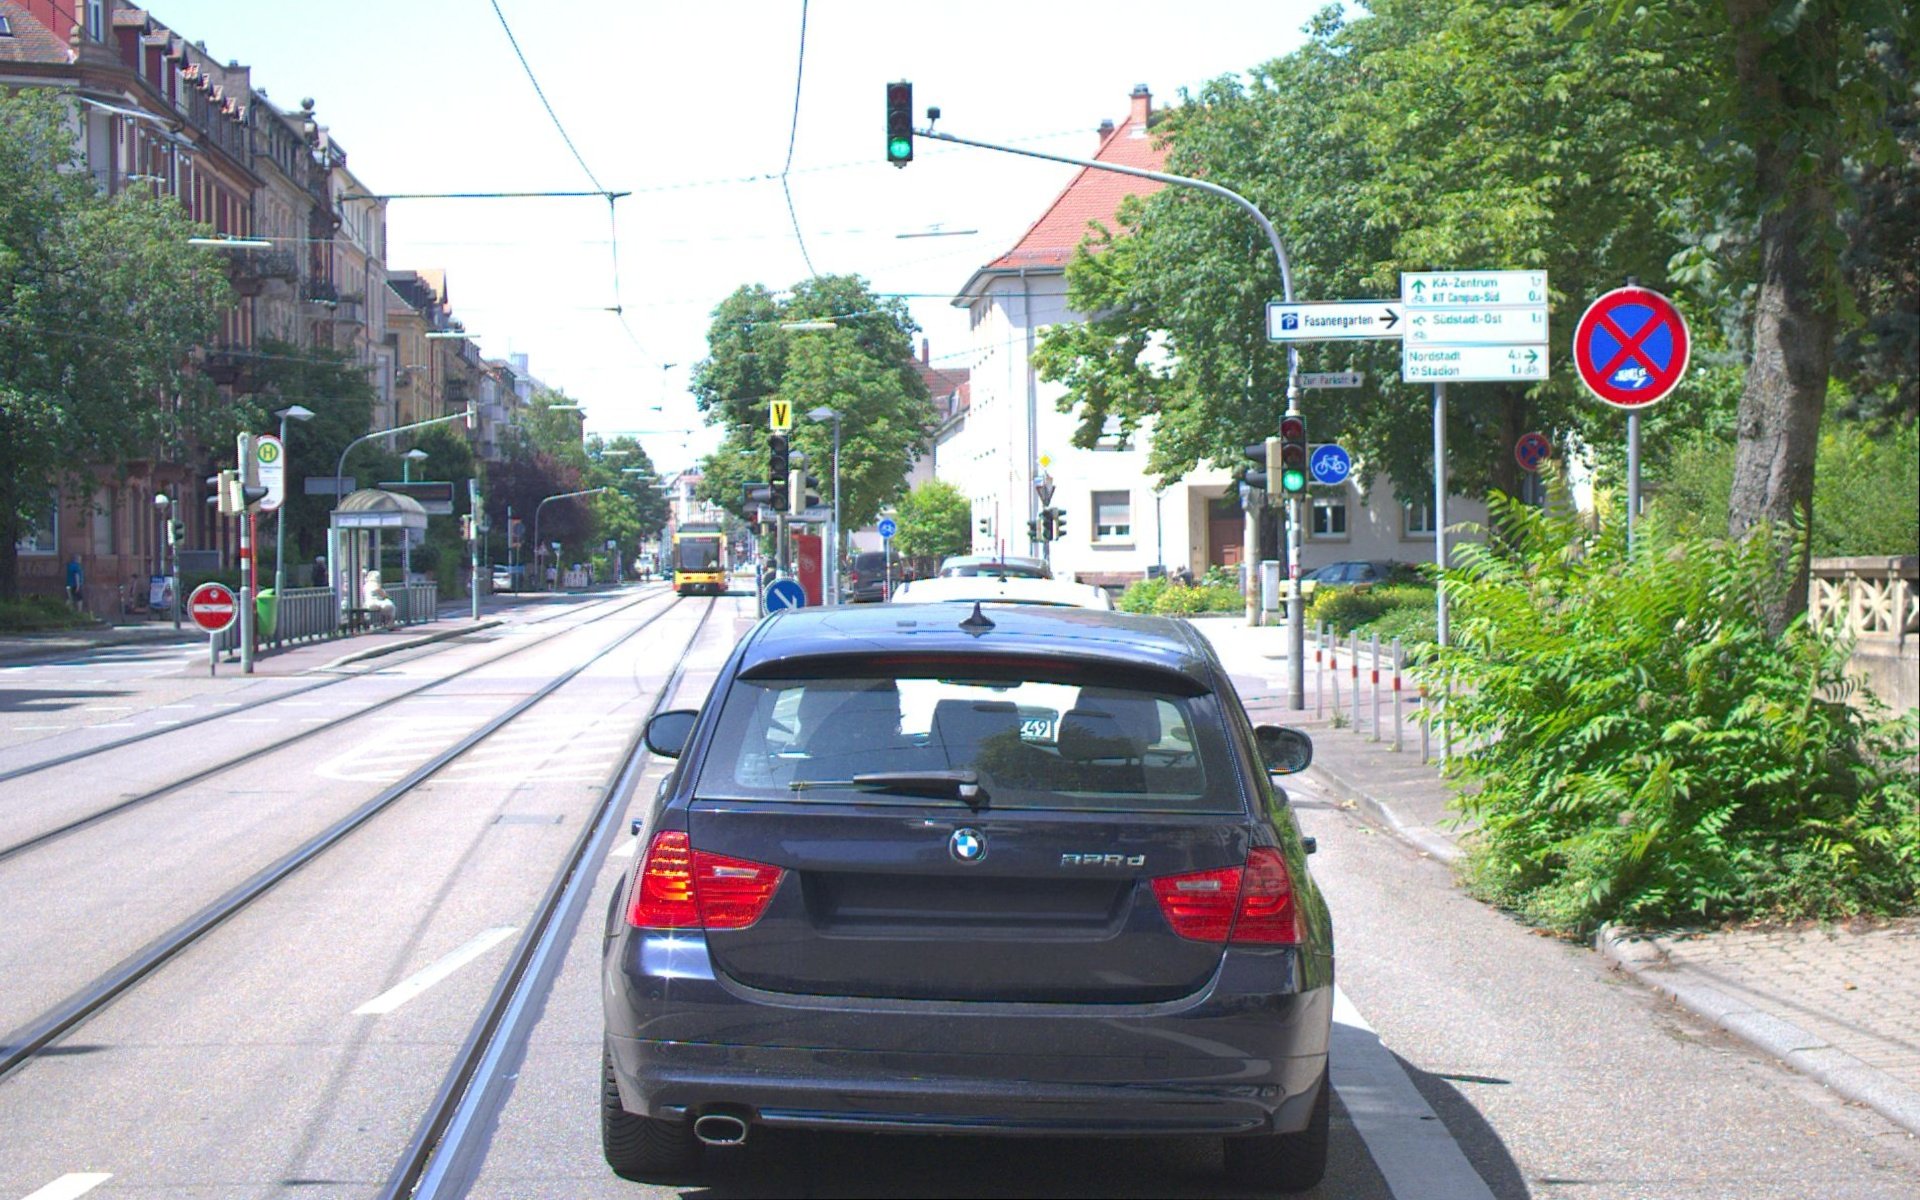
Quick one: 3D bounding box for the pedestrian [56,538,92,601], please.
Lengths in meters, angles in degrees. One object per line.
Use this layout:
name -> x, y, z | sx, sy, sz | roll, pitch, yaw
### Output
pedestrian -> -25.280, -0.871, 98.124 | 0.640, 1.805, 0.738 | 0, 1, 42

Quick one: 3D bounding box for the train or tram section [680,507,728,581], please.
train or tram section -> -12.404, -2.704, 166.909 | 2.190, 3.470, 8.846 | -1, 1, -4

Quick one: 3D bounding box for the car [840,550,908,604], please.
car -> -3.064, -0.829, 121.287 | 1.993, 1.842, 4.001 | -1, 1, -7

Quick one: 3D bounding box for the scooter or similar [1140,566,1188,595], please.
scooter or similar -> 5.933, -0.575, 100.183 | 1.311, 0.834, 0.527 | 0, 1, -9

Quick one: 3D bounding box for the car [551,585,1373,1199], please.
car -> 0.062, 0.712, 9.630 | 1.722, 1.404, 4.565 | 2, 1, 2

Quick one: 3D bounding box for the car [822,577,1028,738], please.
car -> -0.366, 0.469, 30.718 | 1.691, 1.318, 3.822 | 0, 1, -3

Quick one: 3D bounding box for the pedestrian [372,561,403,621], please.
pedestrian -> -11.811, -0.189, 70.906 | 0.613, 1.238, 0.628 | 0, 1, -9

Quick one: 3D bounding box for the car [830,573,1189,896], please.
car -> 0.248, 0.625, 18.113 | 1.685, 1.479, 3.684 | -1, 1, 0

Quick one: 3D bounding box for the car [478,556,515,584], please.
car -> -26.286, -1.704, 194.901 | 1.787, 1.580, 4.001 | 1, 0, -12

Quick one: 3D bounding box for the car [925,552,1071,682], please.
car -> 0.453, 0.175, 41.920 | 1.691, 1.508, 3.821 | 0, 1, 0
